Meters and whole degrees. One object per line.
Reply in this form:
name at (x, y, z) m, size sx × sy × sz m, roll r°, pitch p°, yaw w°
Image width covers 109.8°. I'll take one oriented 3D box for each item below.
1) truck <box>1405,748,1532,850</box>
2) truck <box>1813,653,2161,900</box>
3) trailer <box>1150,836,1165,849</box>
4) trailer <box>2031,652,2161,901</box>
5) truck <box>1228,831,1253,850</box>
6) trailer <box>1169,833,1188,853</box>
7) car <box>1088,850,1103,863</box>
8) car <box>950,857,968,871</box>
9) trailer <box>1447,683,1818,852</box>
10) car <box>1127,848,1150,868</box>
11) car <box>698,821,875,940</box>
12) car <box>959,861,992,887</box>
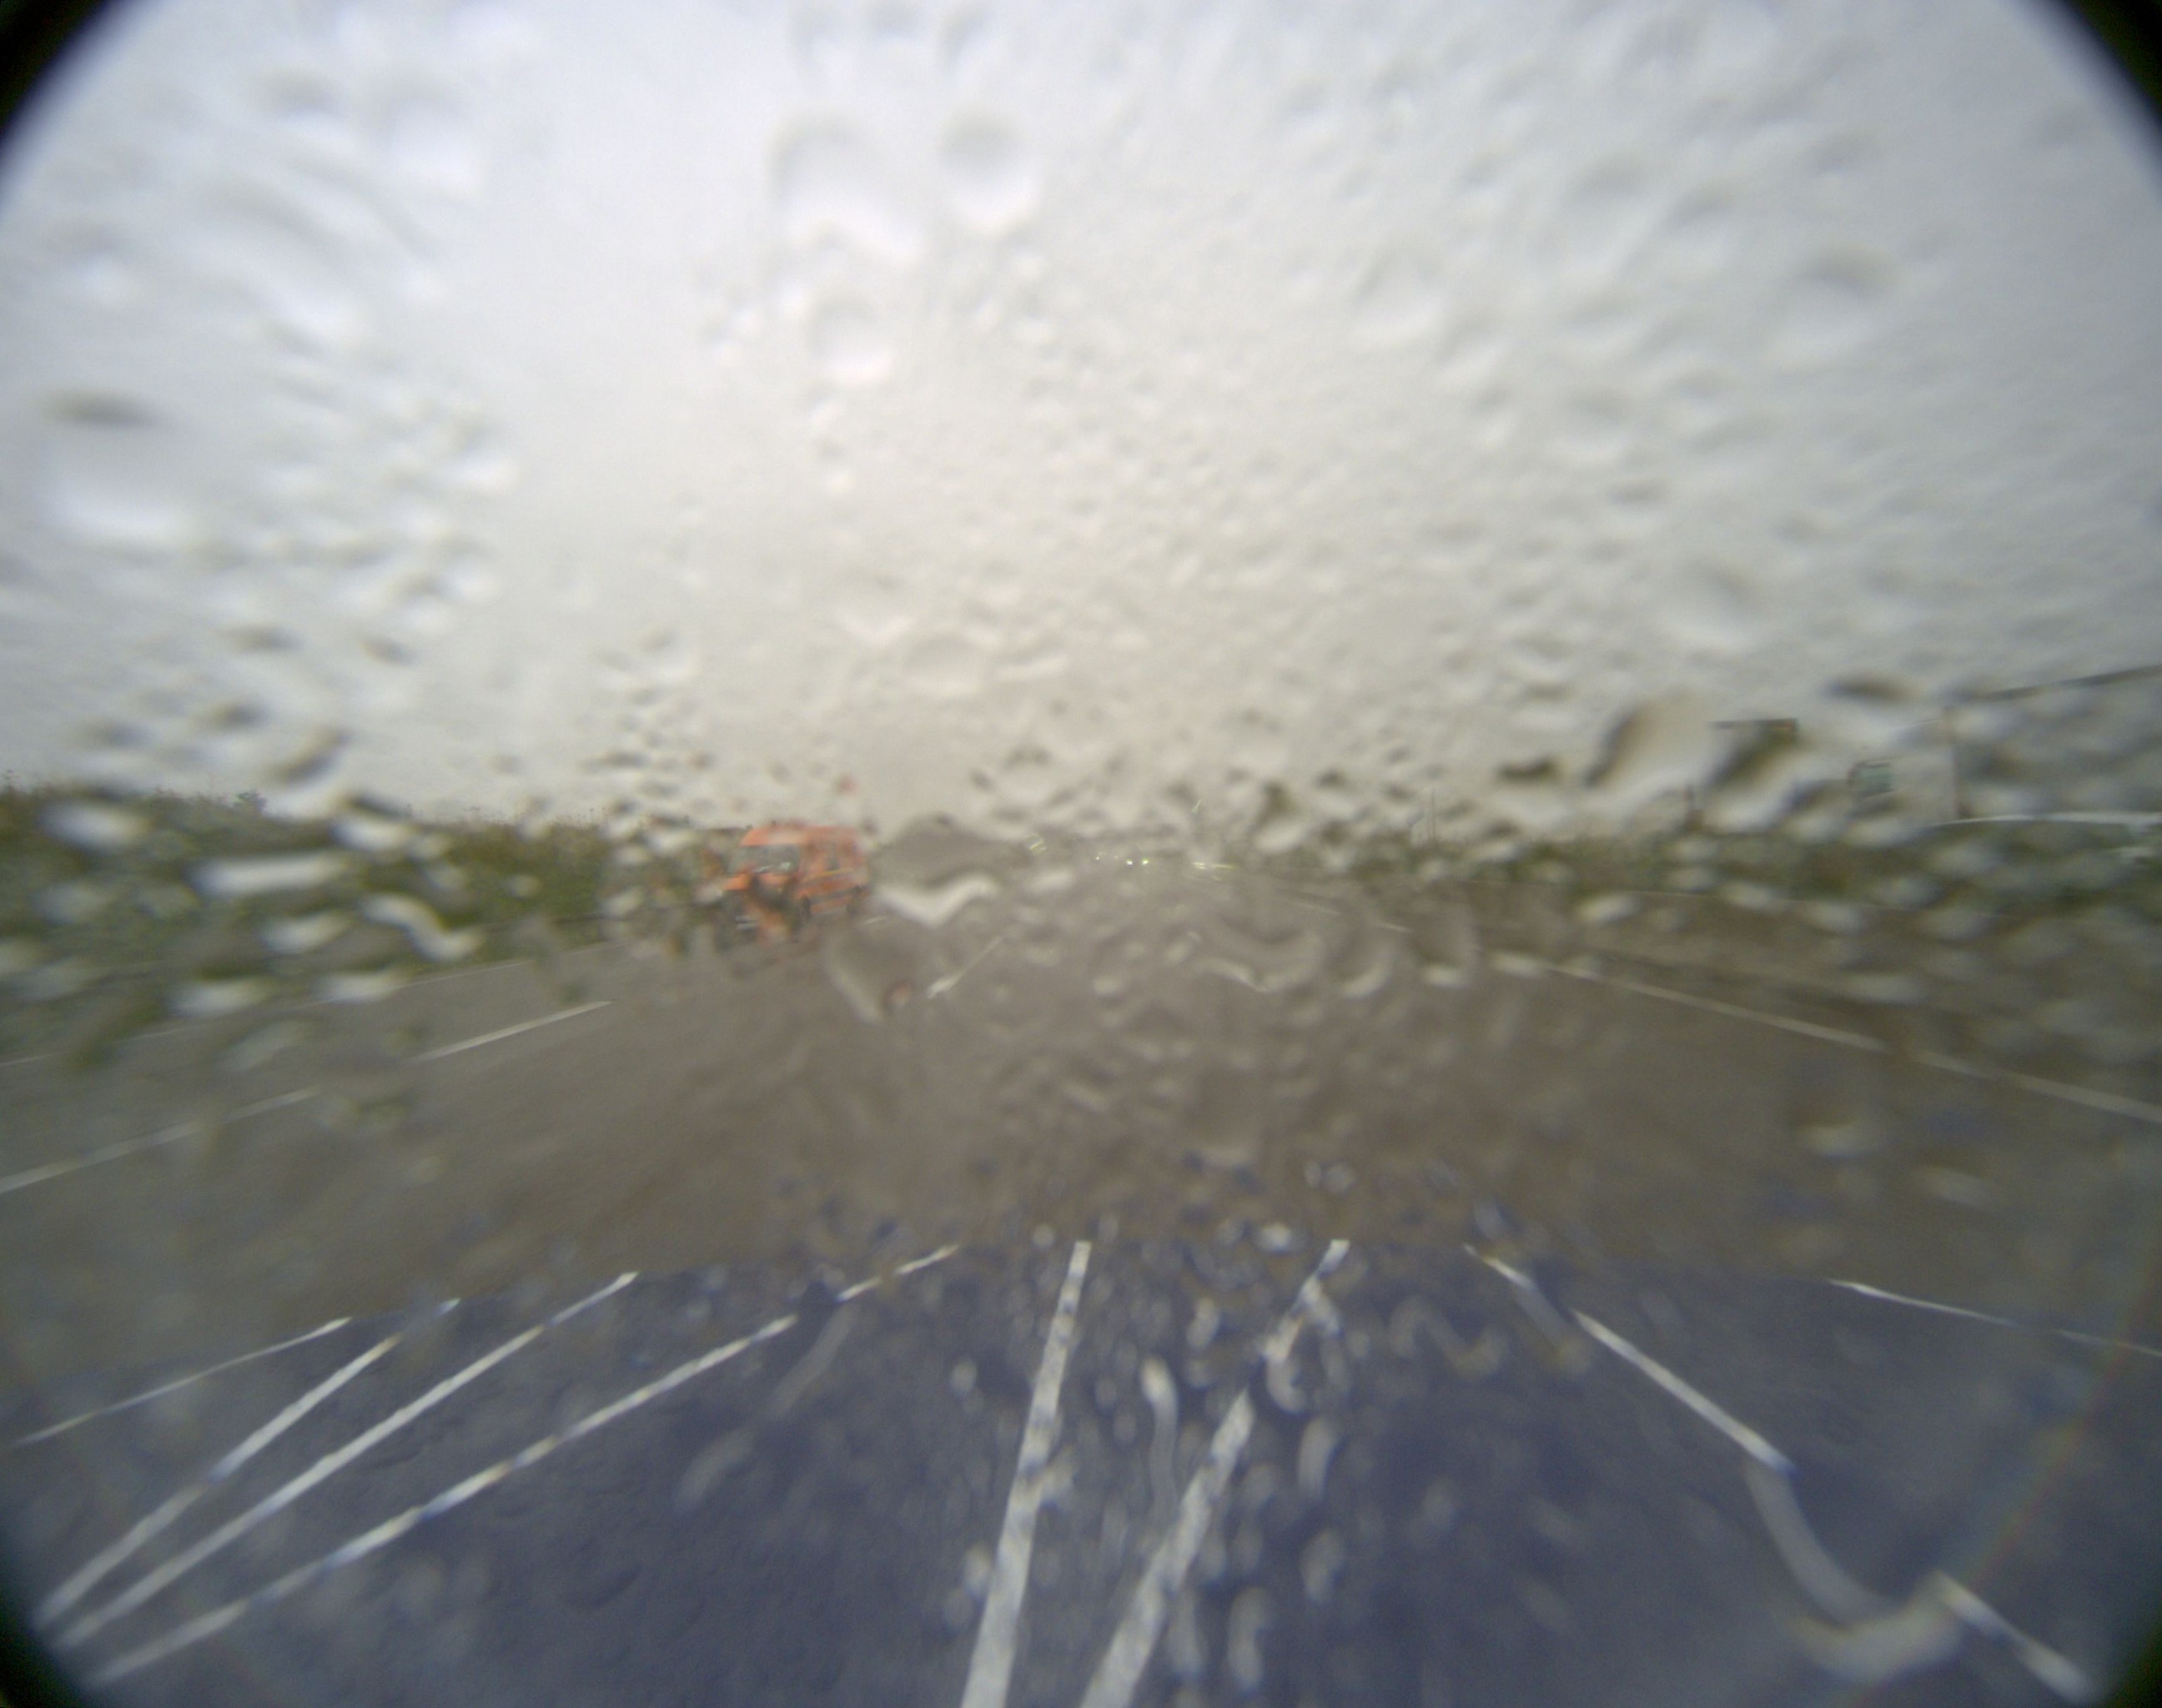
truck at (16.104, -2.156, 31.978) m, size 2.766 × 3.825 × 4.819 m, roll -3°, pitch 1°, yaw 1°
truck at (19.784, -1.418, 16.104) m, size 2.766 × 4.270 × 5.839 m, roll -3°, pitch 1°, yaw 0°
trailer at (20.714, -3.079, 205.867) m, size 3.265 × 3.436 × 9.442 m, roll -2°, pitch 1°, yaw 2°
trailer at (19.812, -1.326, 8.050) m, size 2.825 × 4.227 × 13.236 m, roll -2°, pitch 0°, yaw 0°
truck at (26.490, -2.262, 126.543) m, size 2.826 × 2.892 × 8.281 m, roll -2°, pitch 1°, yaw 3°
trailer at (21.124, -2.337, 165.133) m, size 2.442 × 3.916 × 13.492 m, roll -2°, pitch 0°, yaw 2°
car at (1.882, 0.302, 97.960) m, size 1.700 × 1.543 × 3.733 m, roll -2°, pitch 1°, yaw 3°
car at (-12.824, 1.063, 79.852) m, size 1.820 × 1.281 × 3.996 m, roll -3°, pitch 1°, yaw -9°
trailer at (15.946, -2.079, 24.048) m, size 2.825 × 3.830 × 12.405 m, roll -3°, pitch 0°, yaw 1°
car at (4.932, 0.316, 65.278) m, size 1.701 × 1.543 × 3.733 m, roll -2°, pitch 1°, yaw 1°
car at (-7.632, 0.573, 20.734) m, size 2.066 × 2.600 × 6.884 m, roll -3°, pitch 1°, yaw -1°
car at (-6.800, 1.265, 49.315) m, size 1.914 × 1.477 × 4.475 m, roll -2°, pitch 1°, yaw -5°
